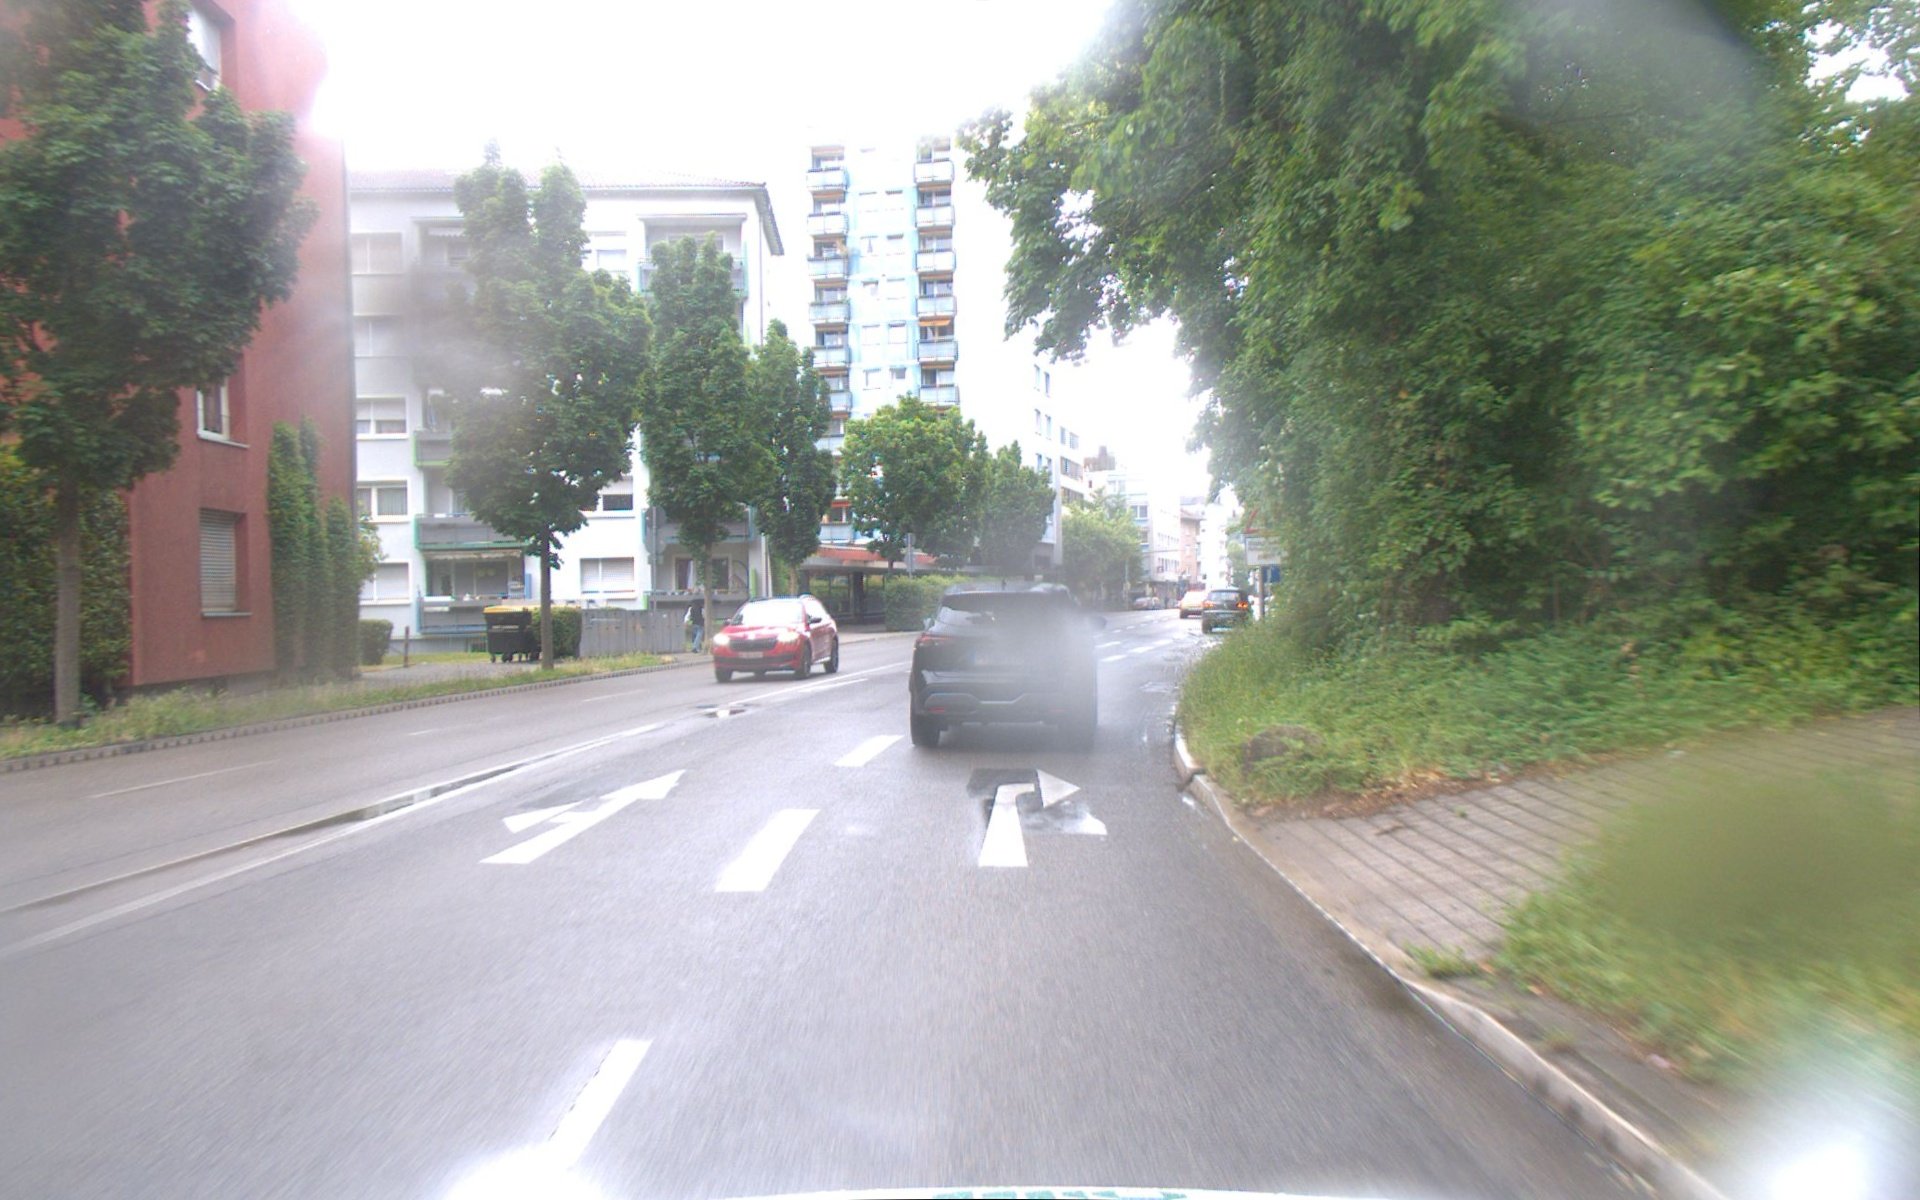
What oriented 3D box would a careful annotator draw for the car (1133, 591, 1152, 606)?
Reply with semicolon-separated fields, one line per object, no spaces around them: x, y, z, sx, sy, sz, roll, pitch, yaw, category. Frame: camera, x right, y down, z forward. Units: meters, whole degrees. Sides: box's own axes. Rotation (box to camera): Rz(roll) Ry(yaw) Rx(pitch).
19.255;-0.127;174.576;1.637;1.504;3.611;-3;0;11;car

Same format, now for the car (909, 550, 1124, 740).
0.498;0.399;17.195;1.920;1.681;3.999;-2;0;-1;car

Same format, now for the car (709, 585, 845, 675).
-3.421;0.510;31.708;1.640;1.590;4.145;0;1;8;car

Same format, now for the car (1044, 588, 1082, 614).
6.198;0.027;99.131;1.834;1.414;4.631;-3;0;9;car

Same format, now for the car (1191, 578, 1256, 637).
9.788;0.245;61.264;1.951;2.049;4.003;-2;0;15;car

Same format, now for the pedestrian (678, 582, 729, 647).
-7.502;0.404;48.434;1.110;1.835;1.264;-2;0;9;pedestrian

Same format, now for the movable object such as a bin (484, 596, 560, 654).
-10.782;0.595;40.762;1.132;1.354;1.968;-2;0;6;movable object such as a bin

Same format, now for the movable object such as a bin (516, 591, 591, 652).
-10.536;0.541;42.928;1.189;1.510;2.089;-2;0;6;movable object such as a bin

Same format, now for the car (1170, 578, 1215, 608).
12.721;-0.398;90.347;2.022;1.489;4.591;-1;1;13;car
